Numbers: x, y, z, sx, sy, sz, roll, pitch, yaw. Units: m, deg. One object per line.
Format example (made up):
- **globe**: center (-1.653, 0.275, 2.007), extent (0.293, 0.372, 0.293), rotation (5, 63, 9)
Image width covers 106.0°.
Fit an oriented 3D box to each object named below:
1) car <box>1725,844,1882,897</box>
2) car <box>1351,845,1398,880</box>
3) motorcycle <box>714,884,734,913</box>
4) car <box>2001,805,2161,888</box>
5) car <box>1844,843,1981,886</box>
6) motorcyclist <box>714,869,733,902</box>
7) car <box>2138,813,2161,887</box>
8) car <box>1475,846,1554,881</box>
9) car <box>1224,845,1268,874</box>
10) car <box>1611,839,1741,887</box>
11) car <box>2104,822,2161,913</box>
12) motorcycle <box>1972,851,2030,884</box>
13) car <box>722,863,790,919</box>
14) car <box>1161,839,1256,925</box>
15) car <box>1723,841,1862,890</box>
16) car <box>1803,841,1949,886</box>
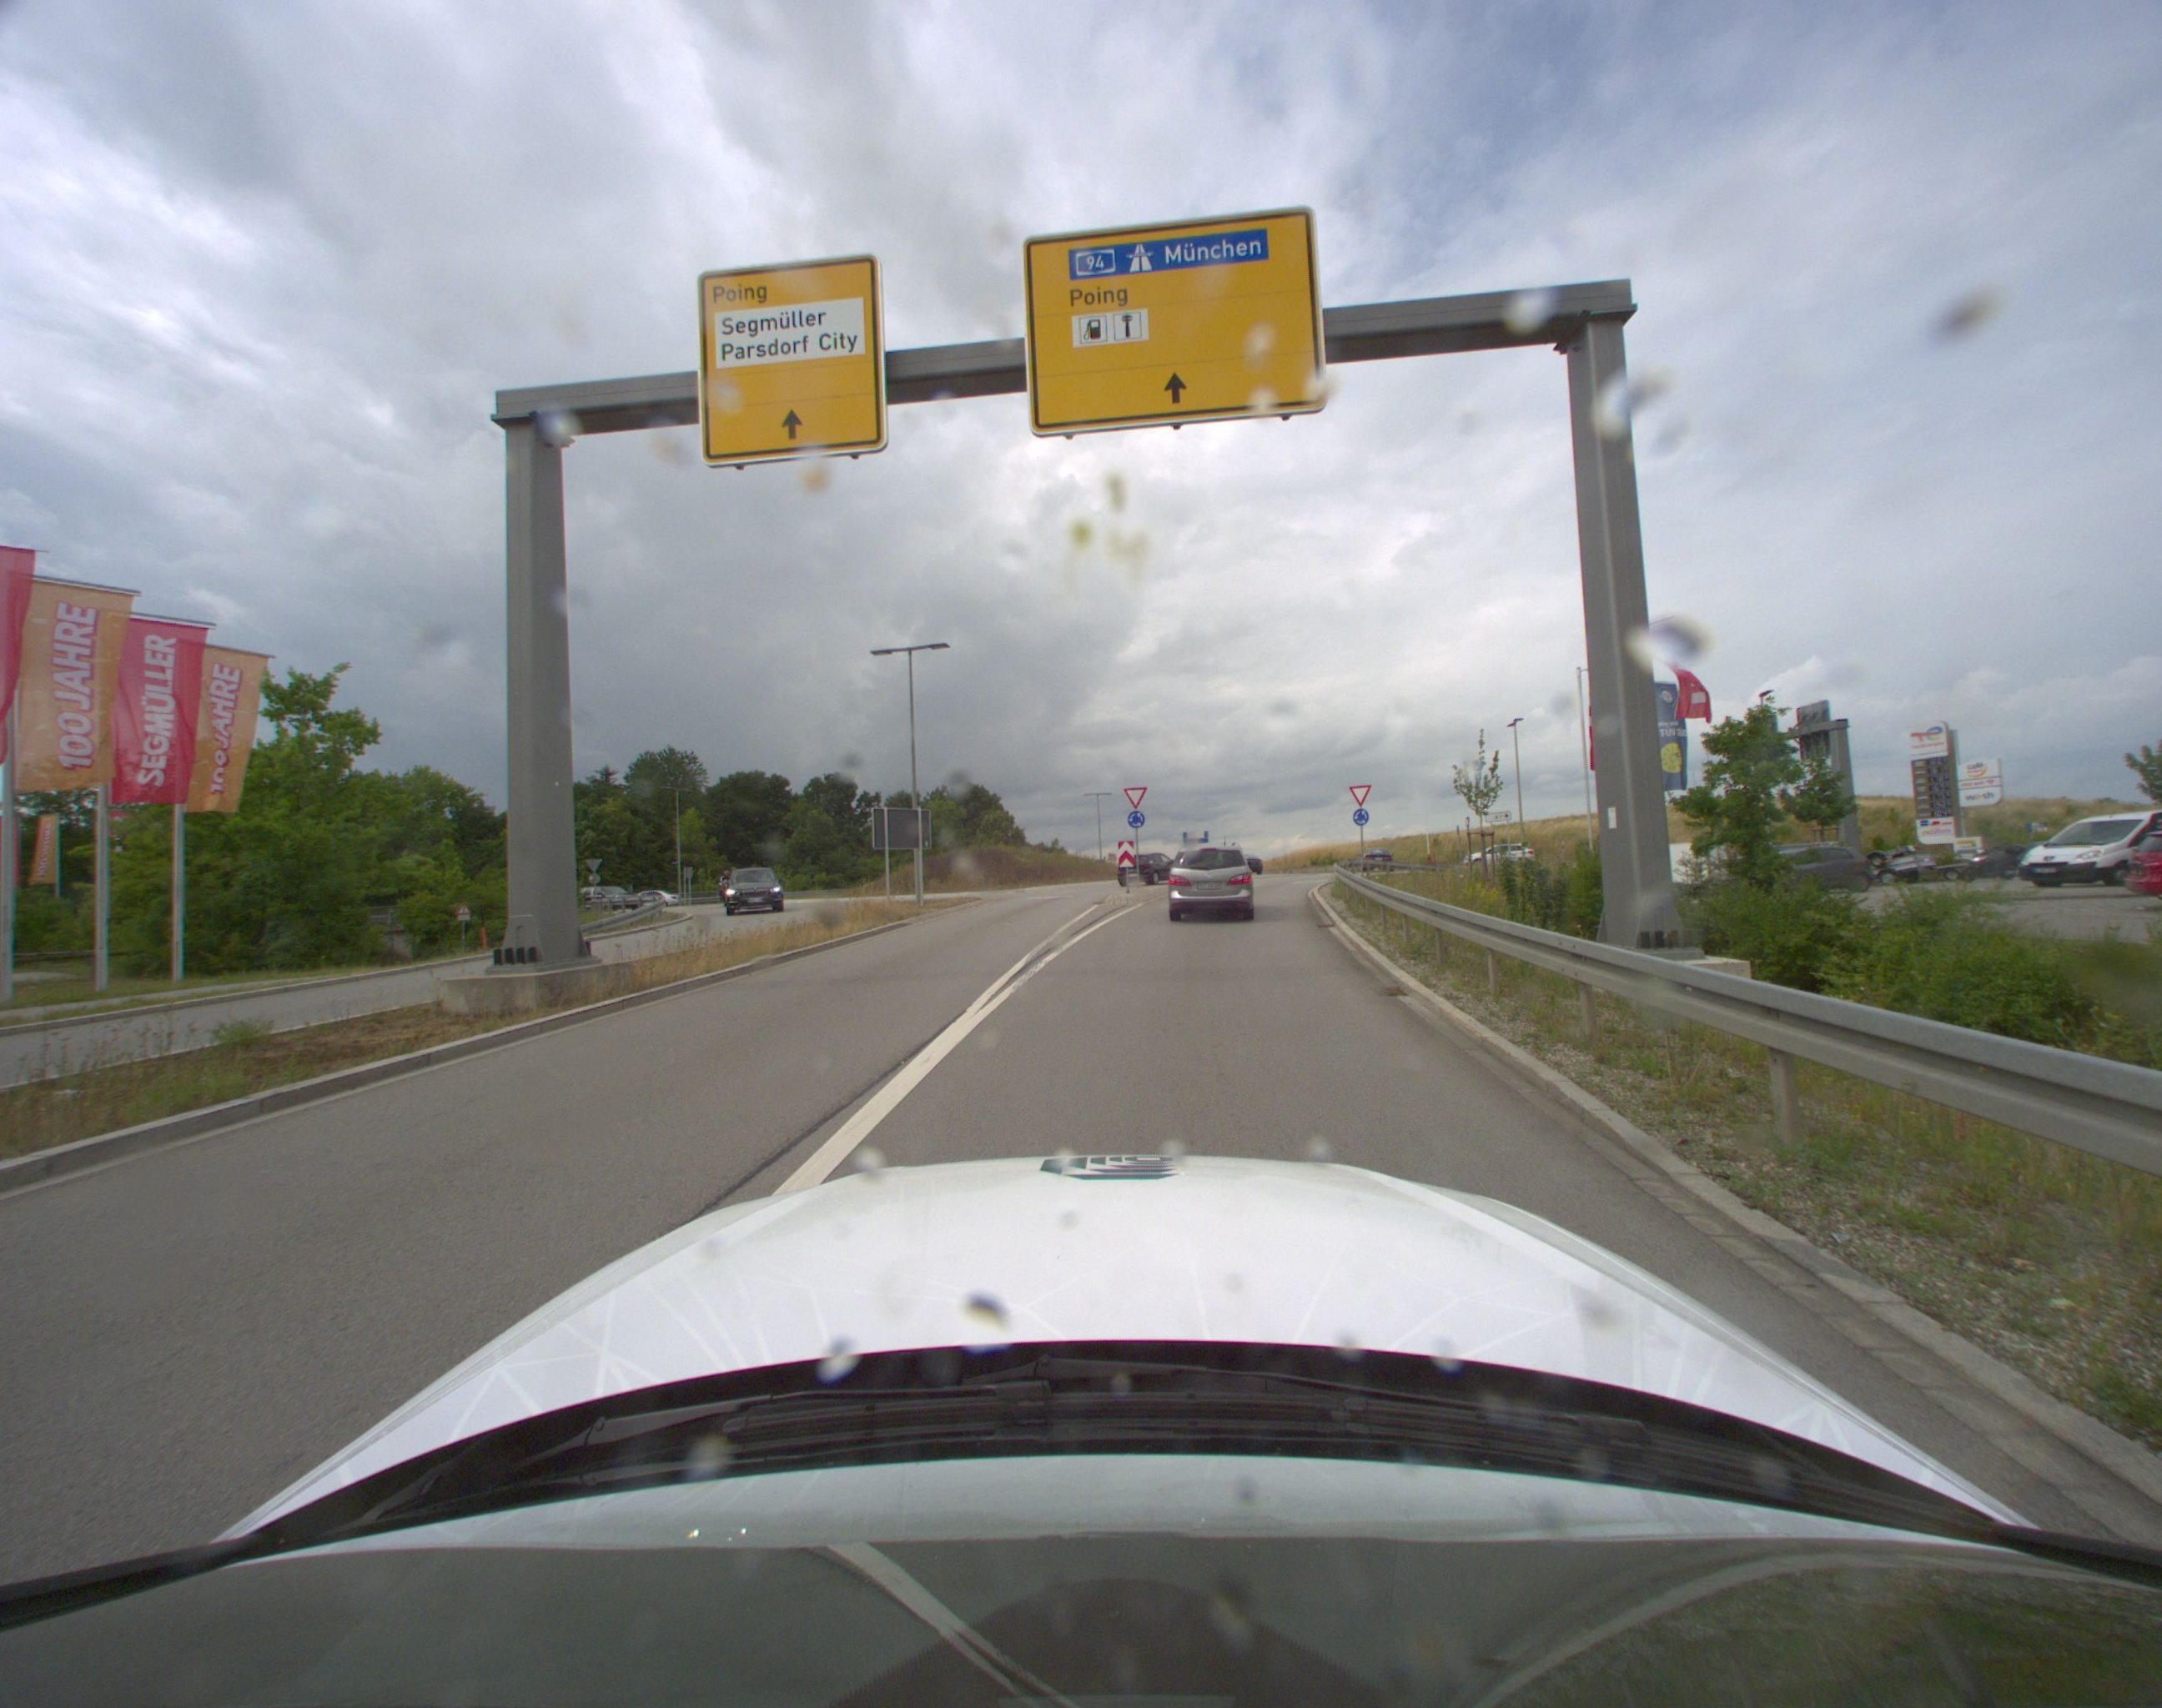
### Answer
- **car**: center (23.785, 0.572, 26.918), extent (3.646, 1.483, 1.505), rotation (-3, -4, 4)
- **car**: center (16.502, 0.506, 46.023), extent (1.644, 1.838, 3.966), rotation (-3, -2, 8)
- **motorcycle**: center (-16.831, 2.093, 38.408), extent (0.752, 1.302, 2.467), rotation (-2, -2, -22)
- **car**: center (27.646, -0.189, 21.368), extent (4.785, 2.054, 1.910), rotation (-1, -2, -1)
- **car**: center (33.209, 0.451, 32.636), extent (1.645, 1.547, 3.417), rotation (-2, -2, -17)
- **motorcyclist**: center (-16.784, 1.483, 38.253), extent (0.732, 1.526, 0.651), rotation (-2, -2, -22)
- **car**: center (26.980, -0.183, 18.529), extent (3.584, 1.736, 1.596), rotation (-2, -2, 1)
- **car**: center (27.808, 0.617, 52.361), extent (4.011, 2.014, 1.800), rotation (-3, -2, 12)
- **car**: center (10.984, 0.400, 54.487), extent (1.892, 1.783, 4.152), rotation (-3, -2, -3)
- **car**: center (22.438, 0.391, 30.865), extent (1.650, 1.626, 3.549), rotation (-2, -2, -28)
- **car**: center (21.457, 0.122, 14.698), extent (3.417, 1.624, 1.560), rotation (-7, -3, 44)
- **motorcycle**: center (32.106, 0.480, 28.414), extent (2.348, 1.077, 0.426), rotation (1, -6, -20)
- **car**: center (-11.496, 1.275, 28.669), extent (1.863, 1.665, 4.127), rotation (-5, 0, -25)
- **car**: center (2.906, 0.535, 18.025), extent (1.756, 1.616, 3.934), rotation (-4, 0, 12)
- **car**: center (26.855, 0.481, 30.879), extent (1.645, 1.693, 3.561), rotation (-2, -2, -17)
- **car**: center (30.721, 0.413, 31.593), extent (1.695, 1.547, 3.637), rotation (-2, -2, -17)
